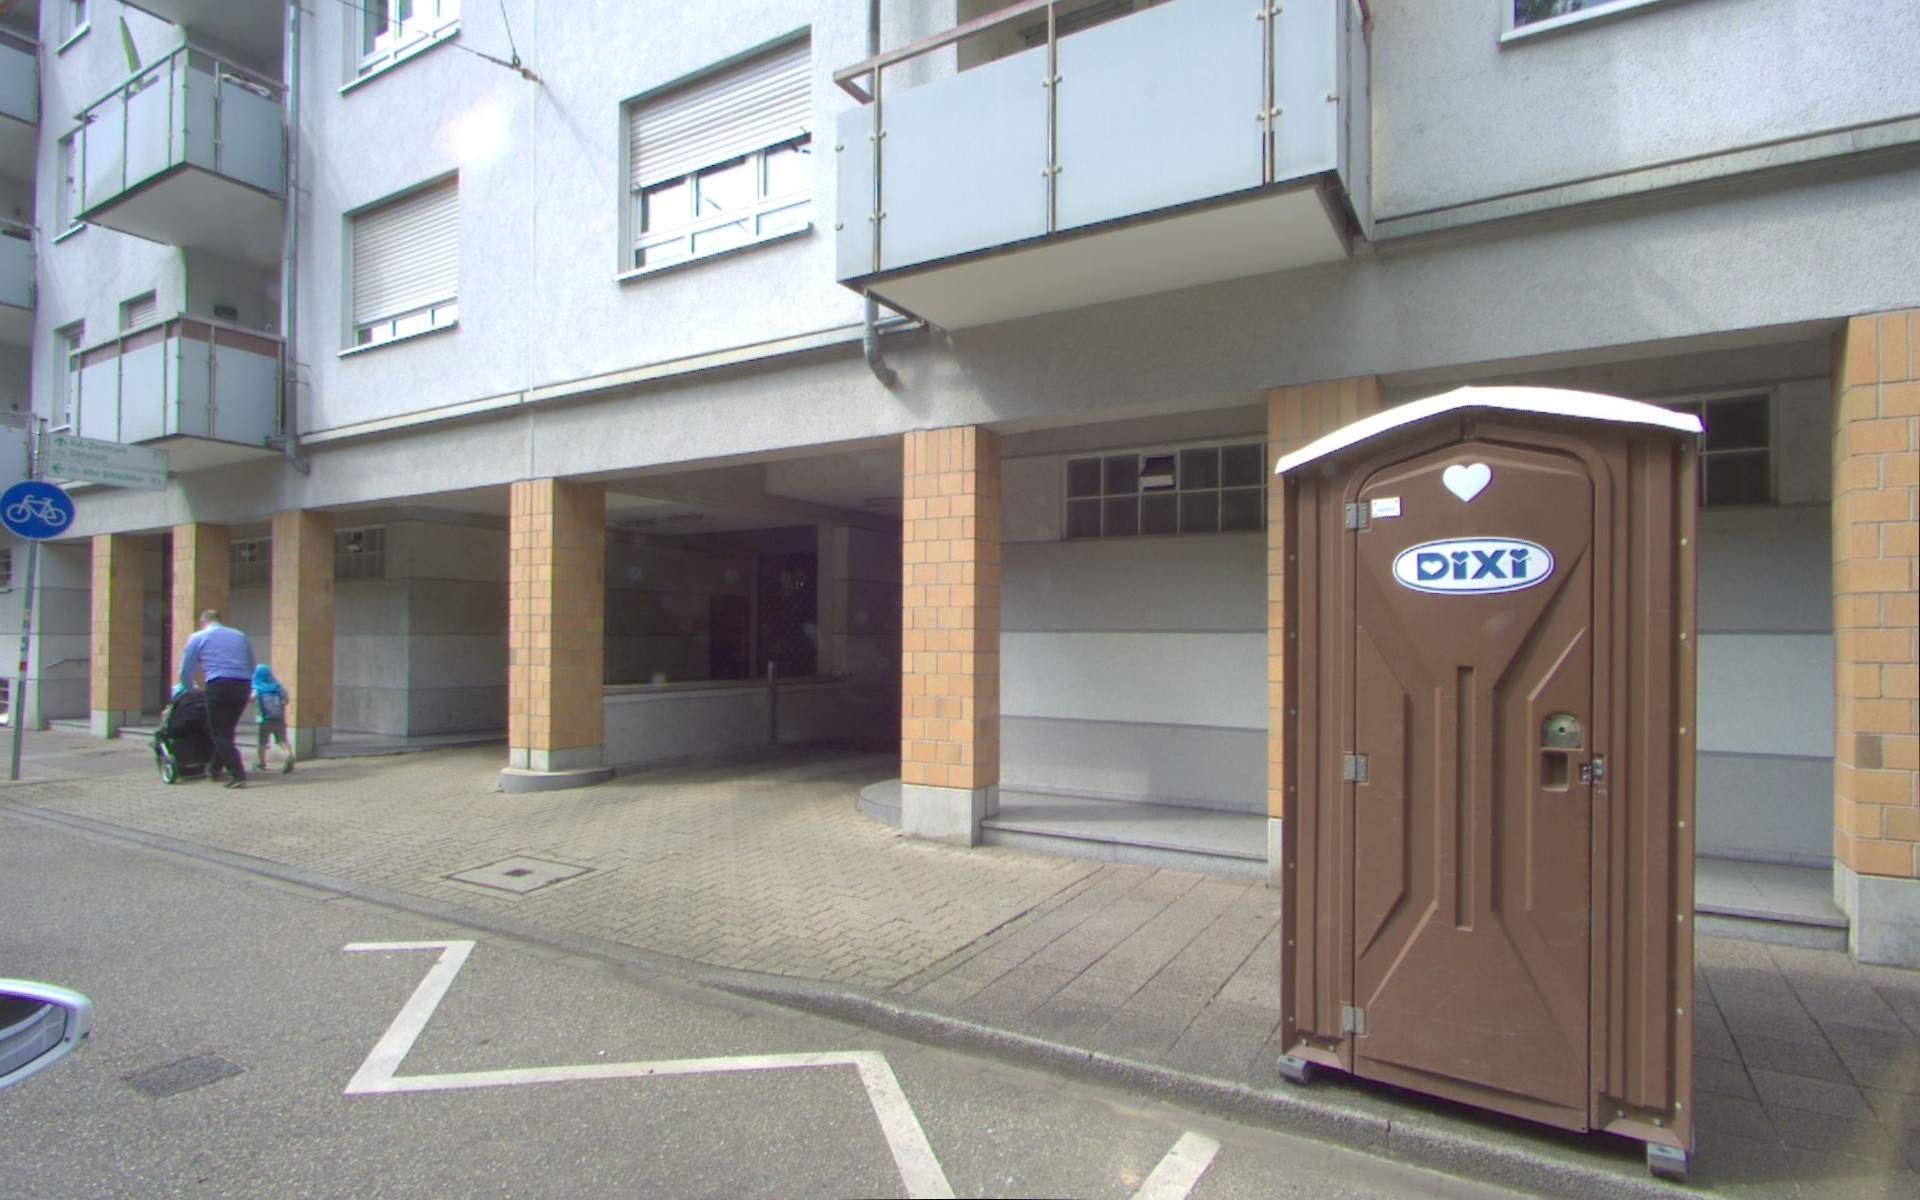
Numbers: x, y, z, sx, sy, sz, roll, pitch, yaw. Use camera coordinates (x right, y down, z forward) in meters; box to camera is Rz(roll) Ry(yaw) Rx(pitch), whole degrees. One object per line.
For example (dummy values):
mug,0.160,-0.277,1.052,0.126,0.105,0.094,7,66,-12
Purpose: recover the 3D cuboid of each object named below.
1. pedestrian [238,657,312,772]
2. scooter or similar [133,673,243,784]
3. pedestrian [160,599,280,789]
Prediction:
pedestrian,-7.281,1.198,10.645,0.487,1.150,0.455,0,2,32
scooter or similar,-7.953,1.297,10.322,0.893,1.016,0.591,-1,2,32
pedestrian,-7.286,0.887,9.862,0.865,1.762,0.619,0,2,32
